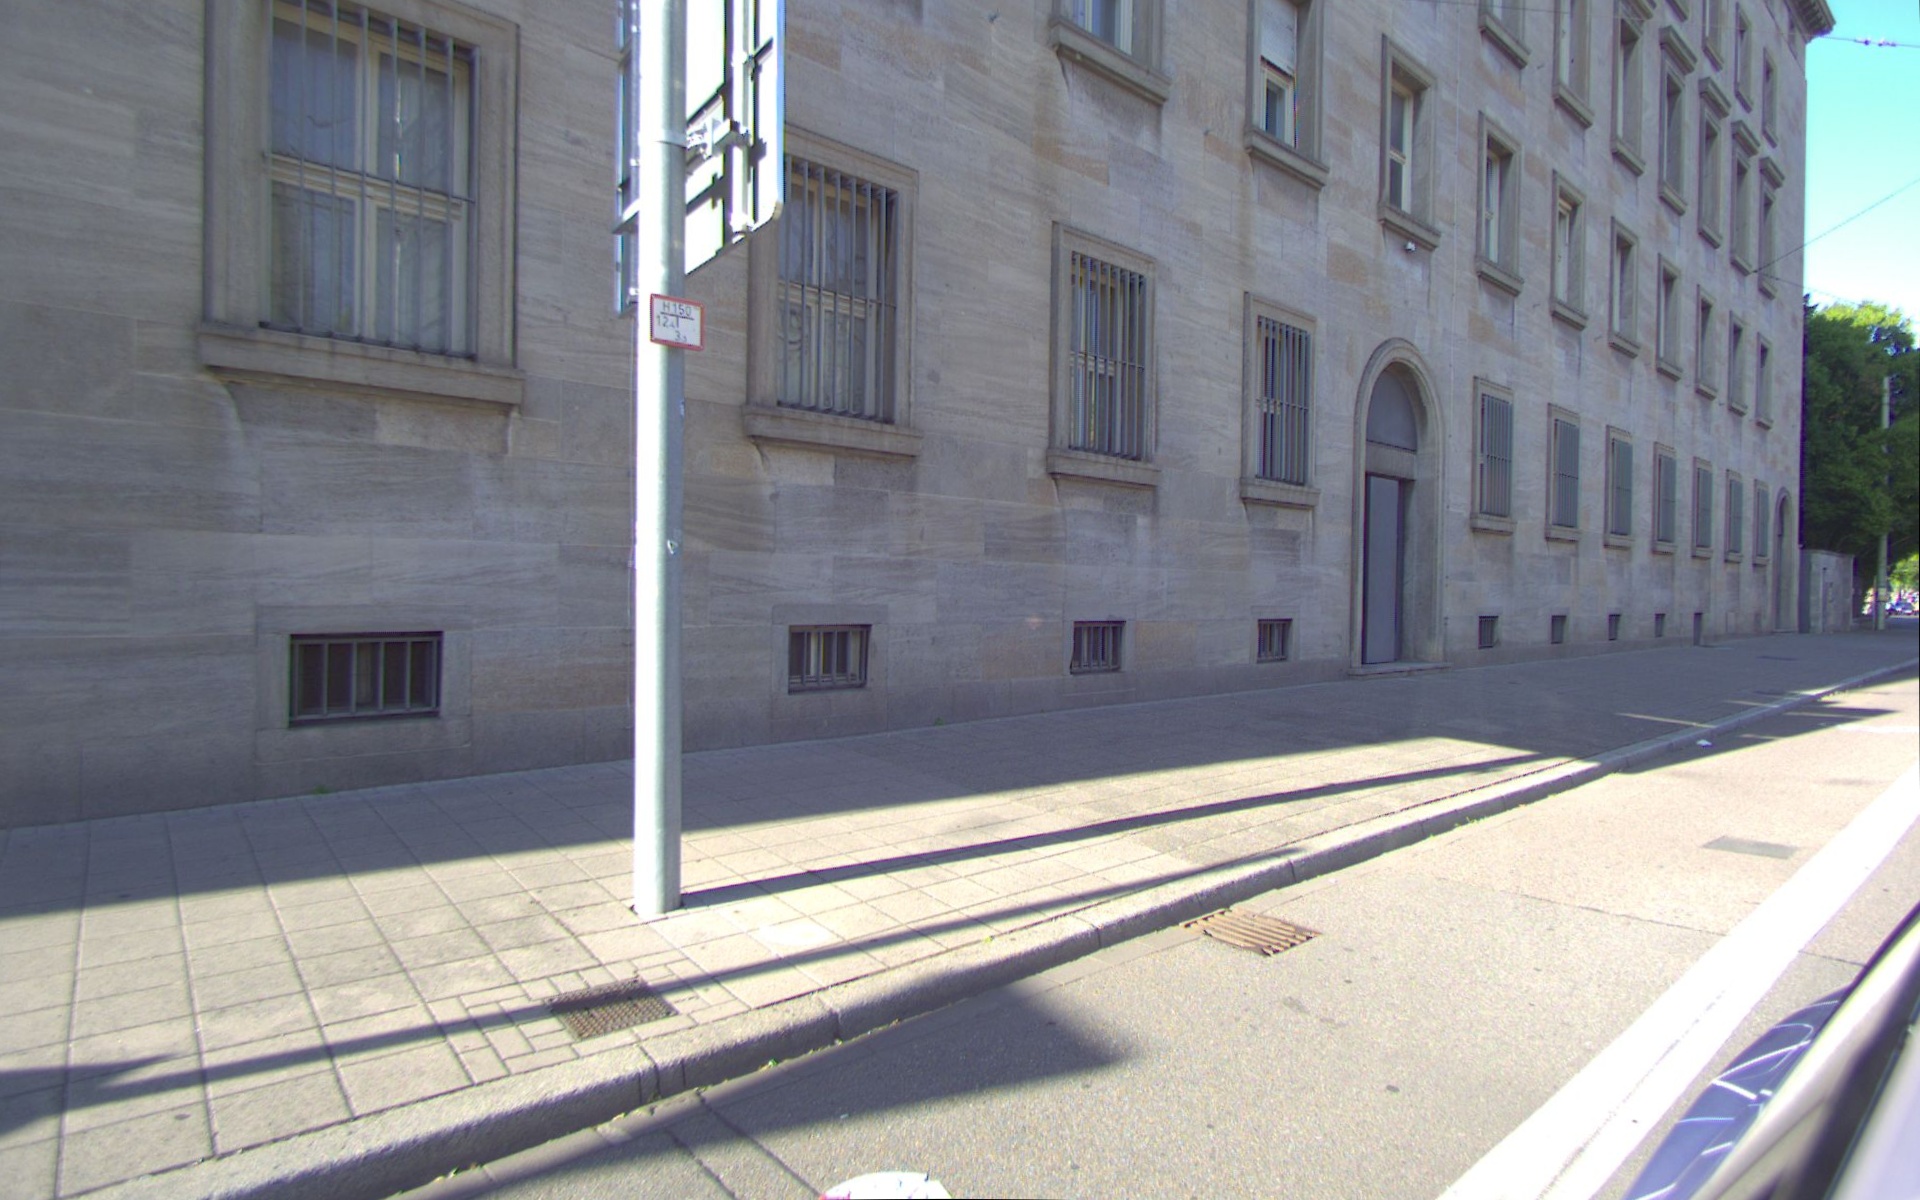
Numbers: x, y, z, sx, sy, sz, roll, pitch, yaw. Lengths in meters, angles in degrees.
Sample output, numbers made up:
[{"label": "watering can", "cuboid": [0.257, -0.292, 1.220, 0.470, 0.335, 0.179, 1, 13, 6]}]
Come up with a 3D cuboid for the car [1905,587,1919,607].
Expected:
[{"label": "car", "cuboid": [104.208, -0.325, 109.796, 1.990, 2.039, 3.945, 2, 1, 38]}]
